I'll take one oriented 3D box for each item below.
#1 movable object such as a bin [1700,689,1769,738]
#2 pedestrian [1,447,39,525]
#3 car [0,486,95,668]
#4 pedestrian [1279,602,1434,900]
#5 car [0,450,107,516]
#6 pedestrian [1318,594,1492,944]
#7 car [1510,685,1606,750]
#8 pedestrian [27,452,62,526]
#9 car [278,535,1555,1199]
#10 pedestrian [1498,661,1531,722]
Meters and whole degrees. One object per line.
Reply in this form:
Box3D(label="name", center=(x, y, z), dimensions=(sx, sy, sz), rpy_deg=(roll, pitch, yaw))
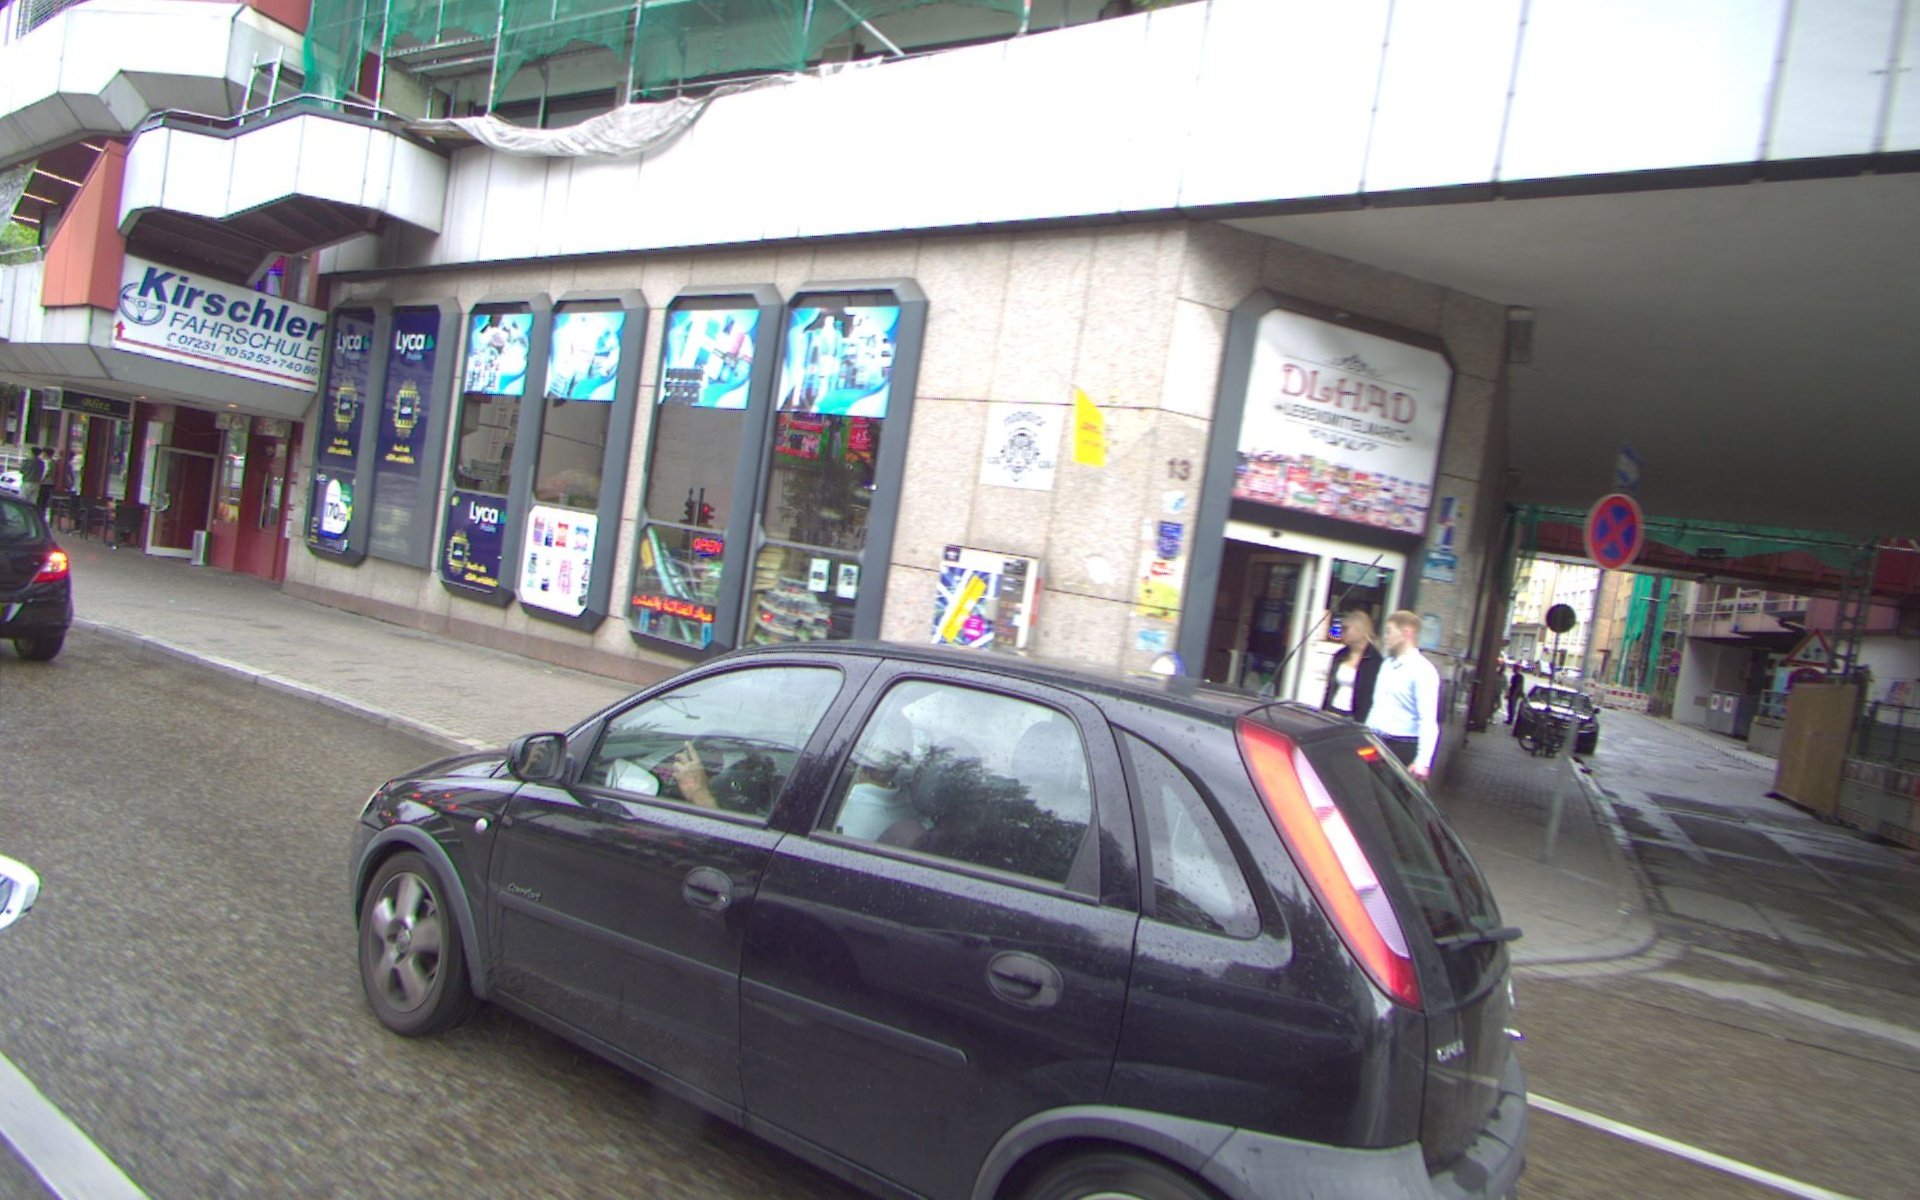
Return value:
Box3D(label="movable object such as a bin", center=(37.696, 5.468, 49.055), dimensions=(1.456, 2.115, 3.842), rpy_deg=(6, -2, 22))
Box3D(label="pedestrian", center=(-21.277, -2.574, 22.769), dimensions=(0.443, 1.704, 0.426), rpy_deg=(6, 1, 30))
Box3D(label="car", center=(-9.561, -0.431, 8.835), dimensions=(3.775, 1.446, 1.620), rpy_deg=(8, -1, 28))
Box3D(label="pedestrian", center=(2.819, 1.041, 7.221), dimensions=(0.628, 1.957, 0.739), rpy_deg=(7, -1, 1))
Box3D(label="car", center=(-28.428, -3.629, 30.221), dimensions=(1.593, 1.503, 3.911), rpy_deg=(6, -2, 19))
Box3D(label="pedestrian", center=(2.724, 0.996, 6.233), dimensions=(0.628, 1.957, 0.739), rpy_deg=(6, -1, 9))
Box3D(label="car", center=(15.191, 2.970, 25.727), dimensions=(1.787, 1.275, 4.060), rpy_deg=(6, -2, 28))
Box3D(label="pedestrian", center=(-21.258, -2.578, 23.356), dimensions=(0.496, 1.660, 0.396), rpy_deg=(6, 1, 32))
Box3D(label="car", center=(-0.317, 0.777, 3.136), dimensions=(3.563, 1.446, 1.609), rpy_deg=(8, -1, 33))
Box3D(label="pedestrian", center=(16.499, 2.723, 29.910), dimensions=(0.697, 1.700, 0.750), rpy_deg=(6, -1, 30))
